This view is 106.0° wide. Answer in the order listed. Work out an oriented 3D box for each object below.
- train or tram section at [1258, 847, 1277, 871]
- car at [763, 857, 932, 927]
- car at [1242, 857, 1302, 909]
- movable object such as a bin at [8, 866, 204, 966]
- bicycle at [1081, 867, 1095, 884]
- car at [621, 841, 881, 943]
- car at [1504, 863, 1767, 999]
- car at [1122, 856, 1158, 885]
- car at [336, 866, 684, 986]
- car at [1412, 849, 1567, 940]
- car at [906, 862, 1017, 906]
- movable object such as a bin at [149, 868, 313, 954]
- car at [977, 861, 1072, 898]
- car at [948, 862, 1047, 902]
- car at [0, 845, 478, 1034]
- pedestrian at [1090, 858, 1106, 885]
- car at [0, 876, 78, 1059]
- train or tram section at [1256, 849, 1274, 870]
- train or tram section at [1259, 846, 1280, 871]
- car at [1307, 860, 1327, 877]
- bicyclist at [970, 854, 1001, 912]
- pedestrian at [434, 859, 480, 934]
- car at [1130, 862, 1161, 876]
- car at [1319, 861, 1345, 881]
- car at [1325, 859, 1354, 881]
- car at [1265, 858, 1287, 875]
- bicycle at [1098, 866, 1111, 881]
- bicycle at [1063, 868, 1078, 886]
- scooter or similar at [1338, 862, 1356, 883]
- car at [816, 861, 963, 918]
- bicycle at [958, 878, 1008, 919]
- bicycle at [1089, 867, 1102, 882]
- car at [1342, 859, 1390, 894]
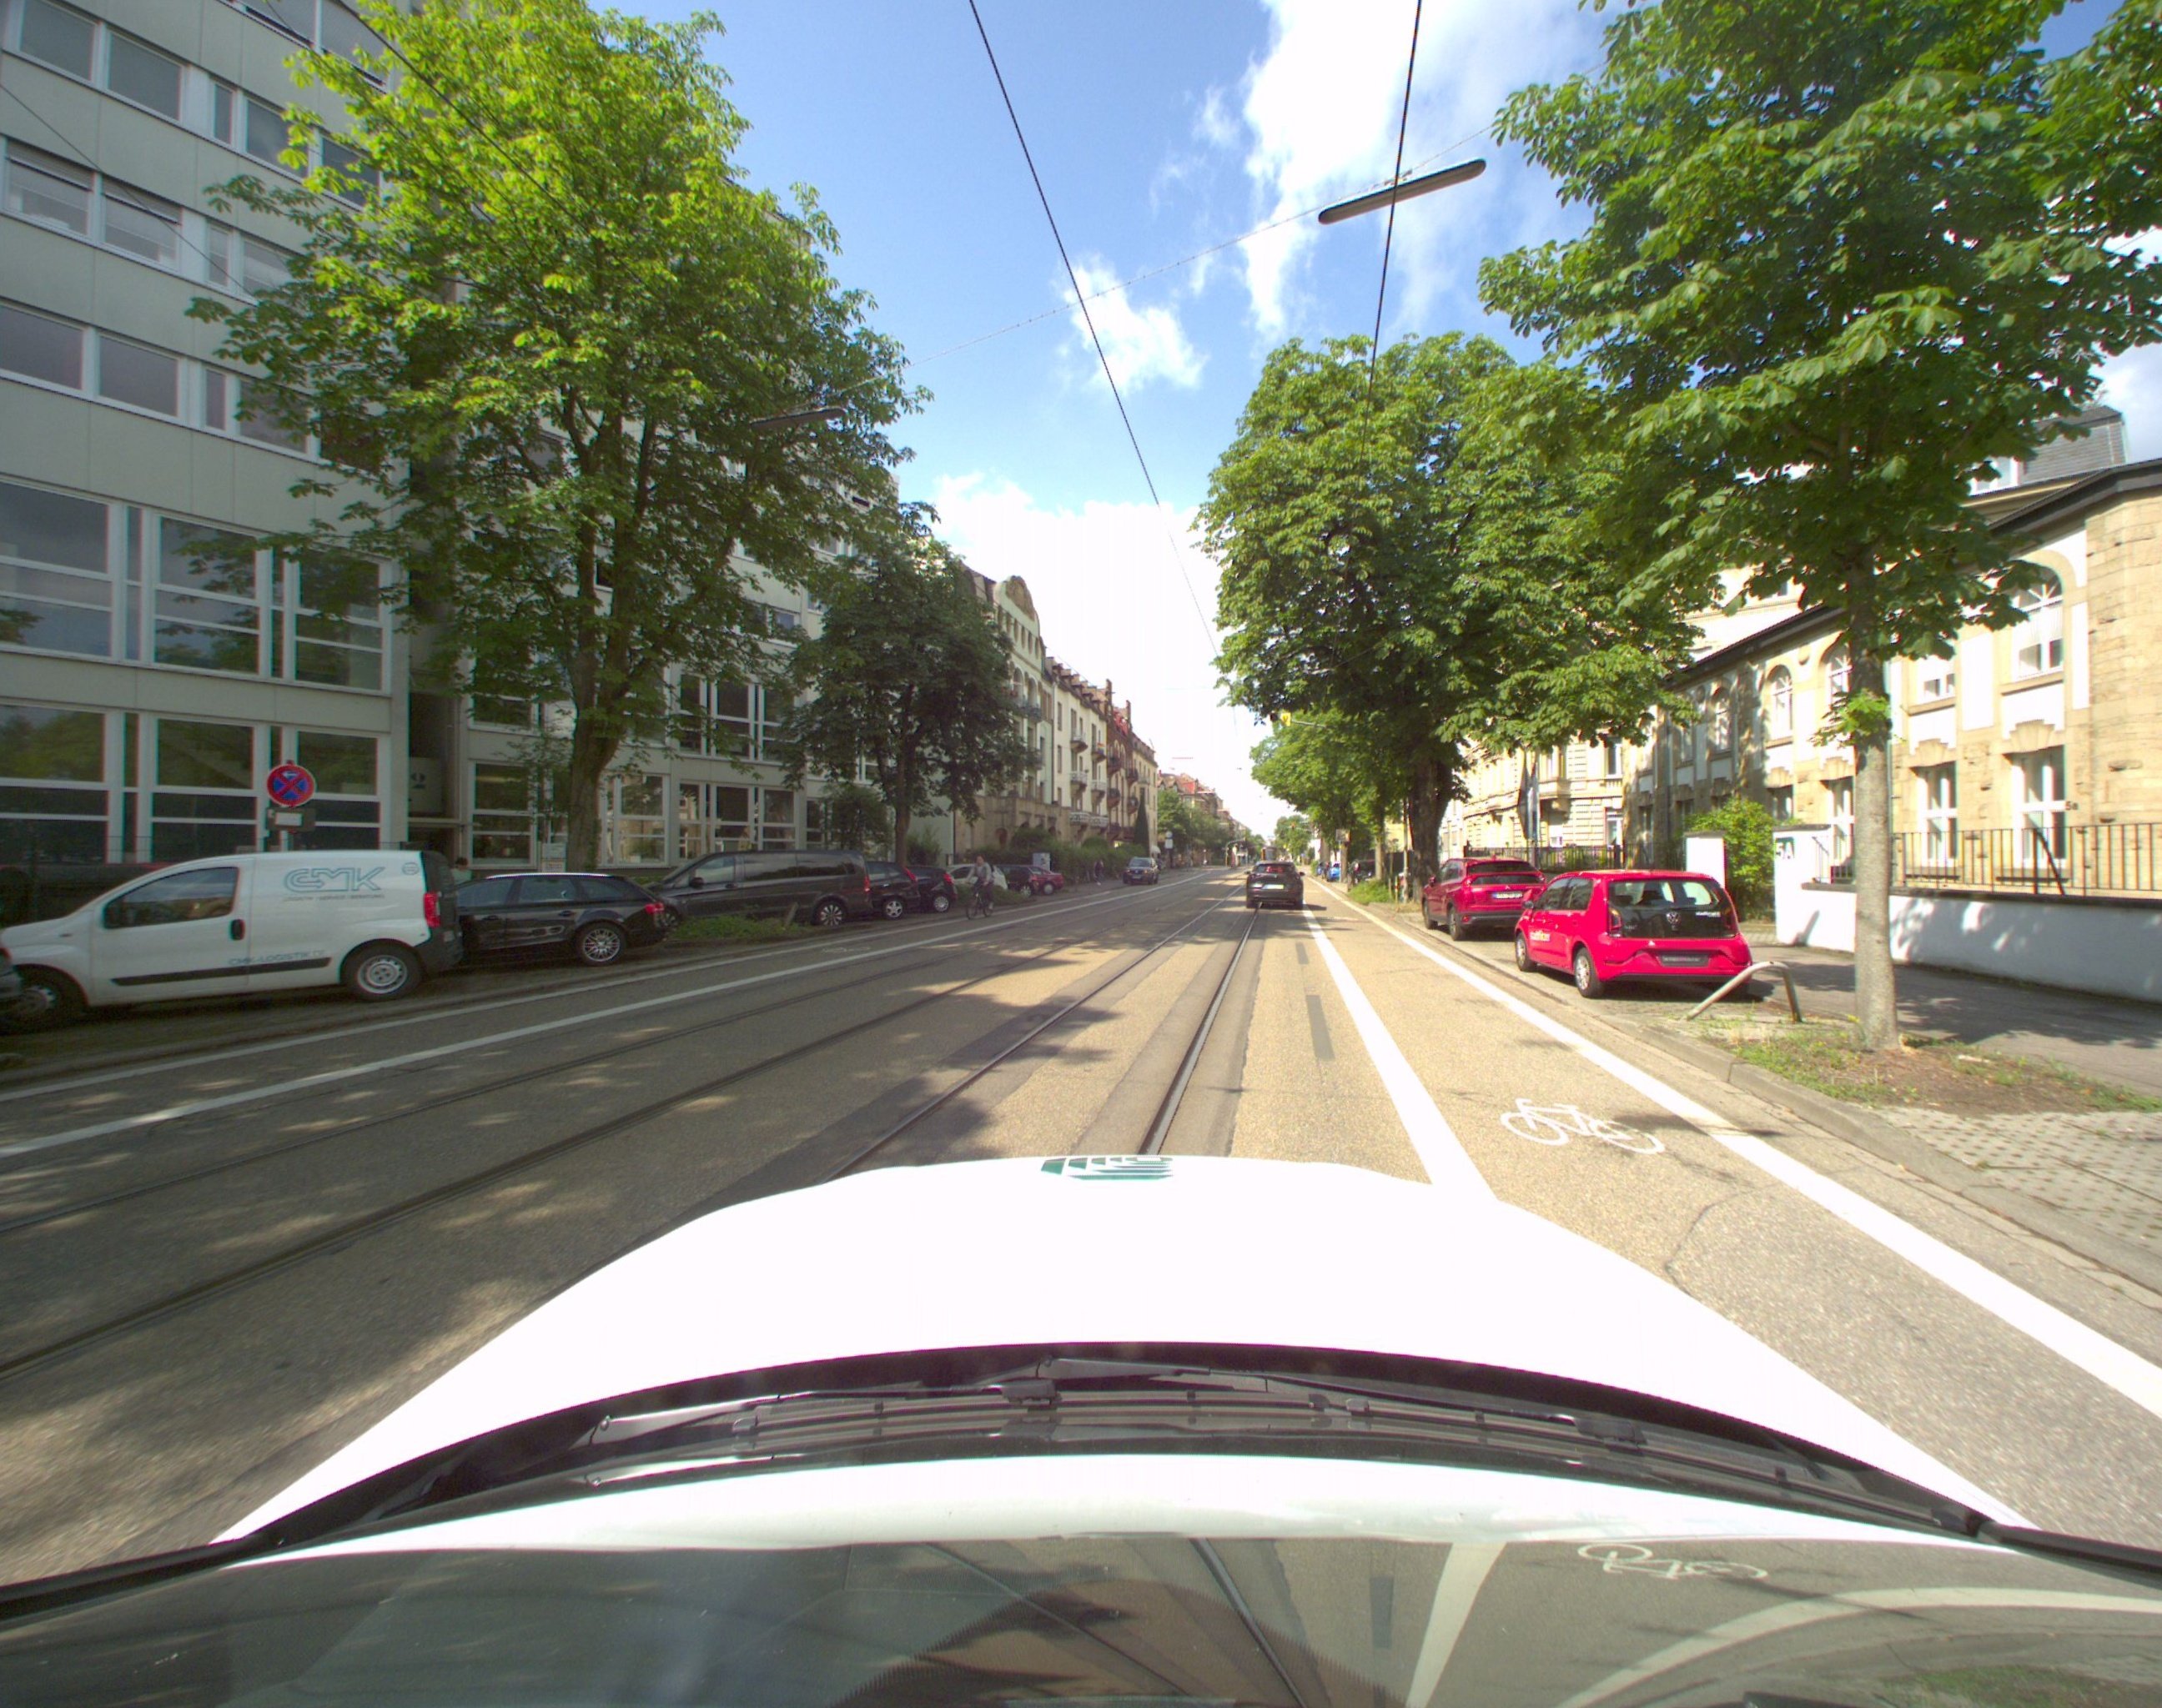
[{"bbox_3d":[29.378,0.837,128.601,2.635,3.528,8.521,-1,-1,11],"label":"train or tram section"},{"bbox_3d":[-6.200,0.963,21.715,4.013,1.593,1.723,-2,-1,-31],"label":"car"},{"bbox_3d":[6.355,0.899,27.221,1.777,1.512,4.366,1,0,13],"label":"car"},{"bbox_3d":[-14.222,0.867,11.938,1.156,1.327,1.446,-3,-2,12],"label":"movable object such as a bin"},{"bbox_3d":[0.444,1.310,50.151,0.380,0.959,1.817,2,0,15],"label":"bicycle"},{"bbox_3d":[-7.391,0.773,18.468,5.187,1.954,1.897,-2,-1,-33],"label":"car"},{"bbox_3d":[6.863,0.855,10.535,1.589,1.429,3.609,-1,-1,13],"label":"car"},{"bbox_3d":[3.890,1.042,52.909,1.773,1.762,4.898,0,0,11],"label":"car"},{"bbox_3d":[-8.317,0.968,12.273,4.015,1.418,1.742,-2,-1,-33],"label":"car"},{"bbox_3d":[8.527,0.795,17.430,1.863,1.676,4.295,-2,-1,11],"label":"car"},{"bbox_3d":[-4.585,1.144,31.395,3.821,1.484,1.680,-2,-1,-32],"label":"car"},{"bbox_3d":[-13.895,0.906,13.367,1.160,1.283,1.446,-3,-2,12],"label":"movable object such as a bin"},{"bbox_3d":[-2.599,1.164,37.617,3.982,1.484,1.829,-2,-1,-30],"label":"car"},{"bbox_3d":[-3.517,1.162,34.428,3.815,1.484,1.683,-2,-1,-26],"label":"car"},{"bbox_3d":[-9.181,0.816,9.091,3.727,1.693,1.743,-2,-1,-30],"label":"car"},{"bbox_3d":[1.023,1.042,48.445,0.675,1.568,0.885,2,0,16],"label":"pedestrian"},{"bbox_3d":[-10.438,0.946,5.692,4.019,1.418,1.702,-1,-1,-38],"label":"car"},{"bbox_3d":[30.952,0.970,136.966,2.635,3.528,8.521,-1,-1,11],"label":"train or tram section"},{"bbox_3d":[27.807,0.702,120.223,2.635,3.528,8.521,-1,-1,11],"label":"train or tram section"},{"bbox_3d":[22.054,1.364,76.219,1.612,1.496,3.861,-2,-1,13],"label":"car"},{"bbox_3d":[-2.657,0.798,22.740,0.636,1.577,0.744,-1,-1,13],"label":"bicyclist"},{"bbox_3d":[-13.566,0.906,17.703,0.870,1.577,0.649,-2,-2,43],"label":"pedestrian"},{"bbox_3d":[7.438,1.760,94.189,3.211,1.513,1.686,2,-1,17],"label":"car"},{"bbox_3d":[20.412,1.347,66.254,1.629,1.496,3.769,-2,-1,12],"label":"car"},{"bbox_3d":[18.549,1.133,58.527,1.629,1.496,3.639,-2,-1,12],"label":"car"},{"bbox_3d":[17.830,1.082,74.607,1.773,1.492,4.898,0,0,11],"label":"car"},{"bbox_3d":[1.552,1.310,54.253,0.380,0.959,1.929,2,0,15],"label":"bicycle"},{"bbox_3d":[-0.591,1.285,46.402,0.380,0.959,1.817,2,0,15],"label":"bicycle"},{"bbox_3d":[16.919,1.164,51.769,0.442,1.299,1.175,-3,1,-17],"label":"scooter or similar"},{"bbox_3d":[-5.807,1.052,24.744,4.011,1.484,1.724,-2,-1,-29],"label":"car"},{"bbox_3d":[-2.707,1.212,22.635,0.650,1.040,2.008,-1,-1,15],"label":"bicycle"},{"bbox_3d":[0.963,1.301,52.187,0.380,0.959,1.817,2,0,15],"label":"bicycle"},{"bbox_3d":[14.023,1.072,40.288,1.685,1.591,4.217,-2,-1,12],"label":"car"}]
